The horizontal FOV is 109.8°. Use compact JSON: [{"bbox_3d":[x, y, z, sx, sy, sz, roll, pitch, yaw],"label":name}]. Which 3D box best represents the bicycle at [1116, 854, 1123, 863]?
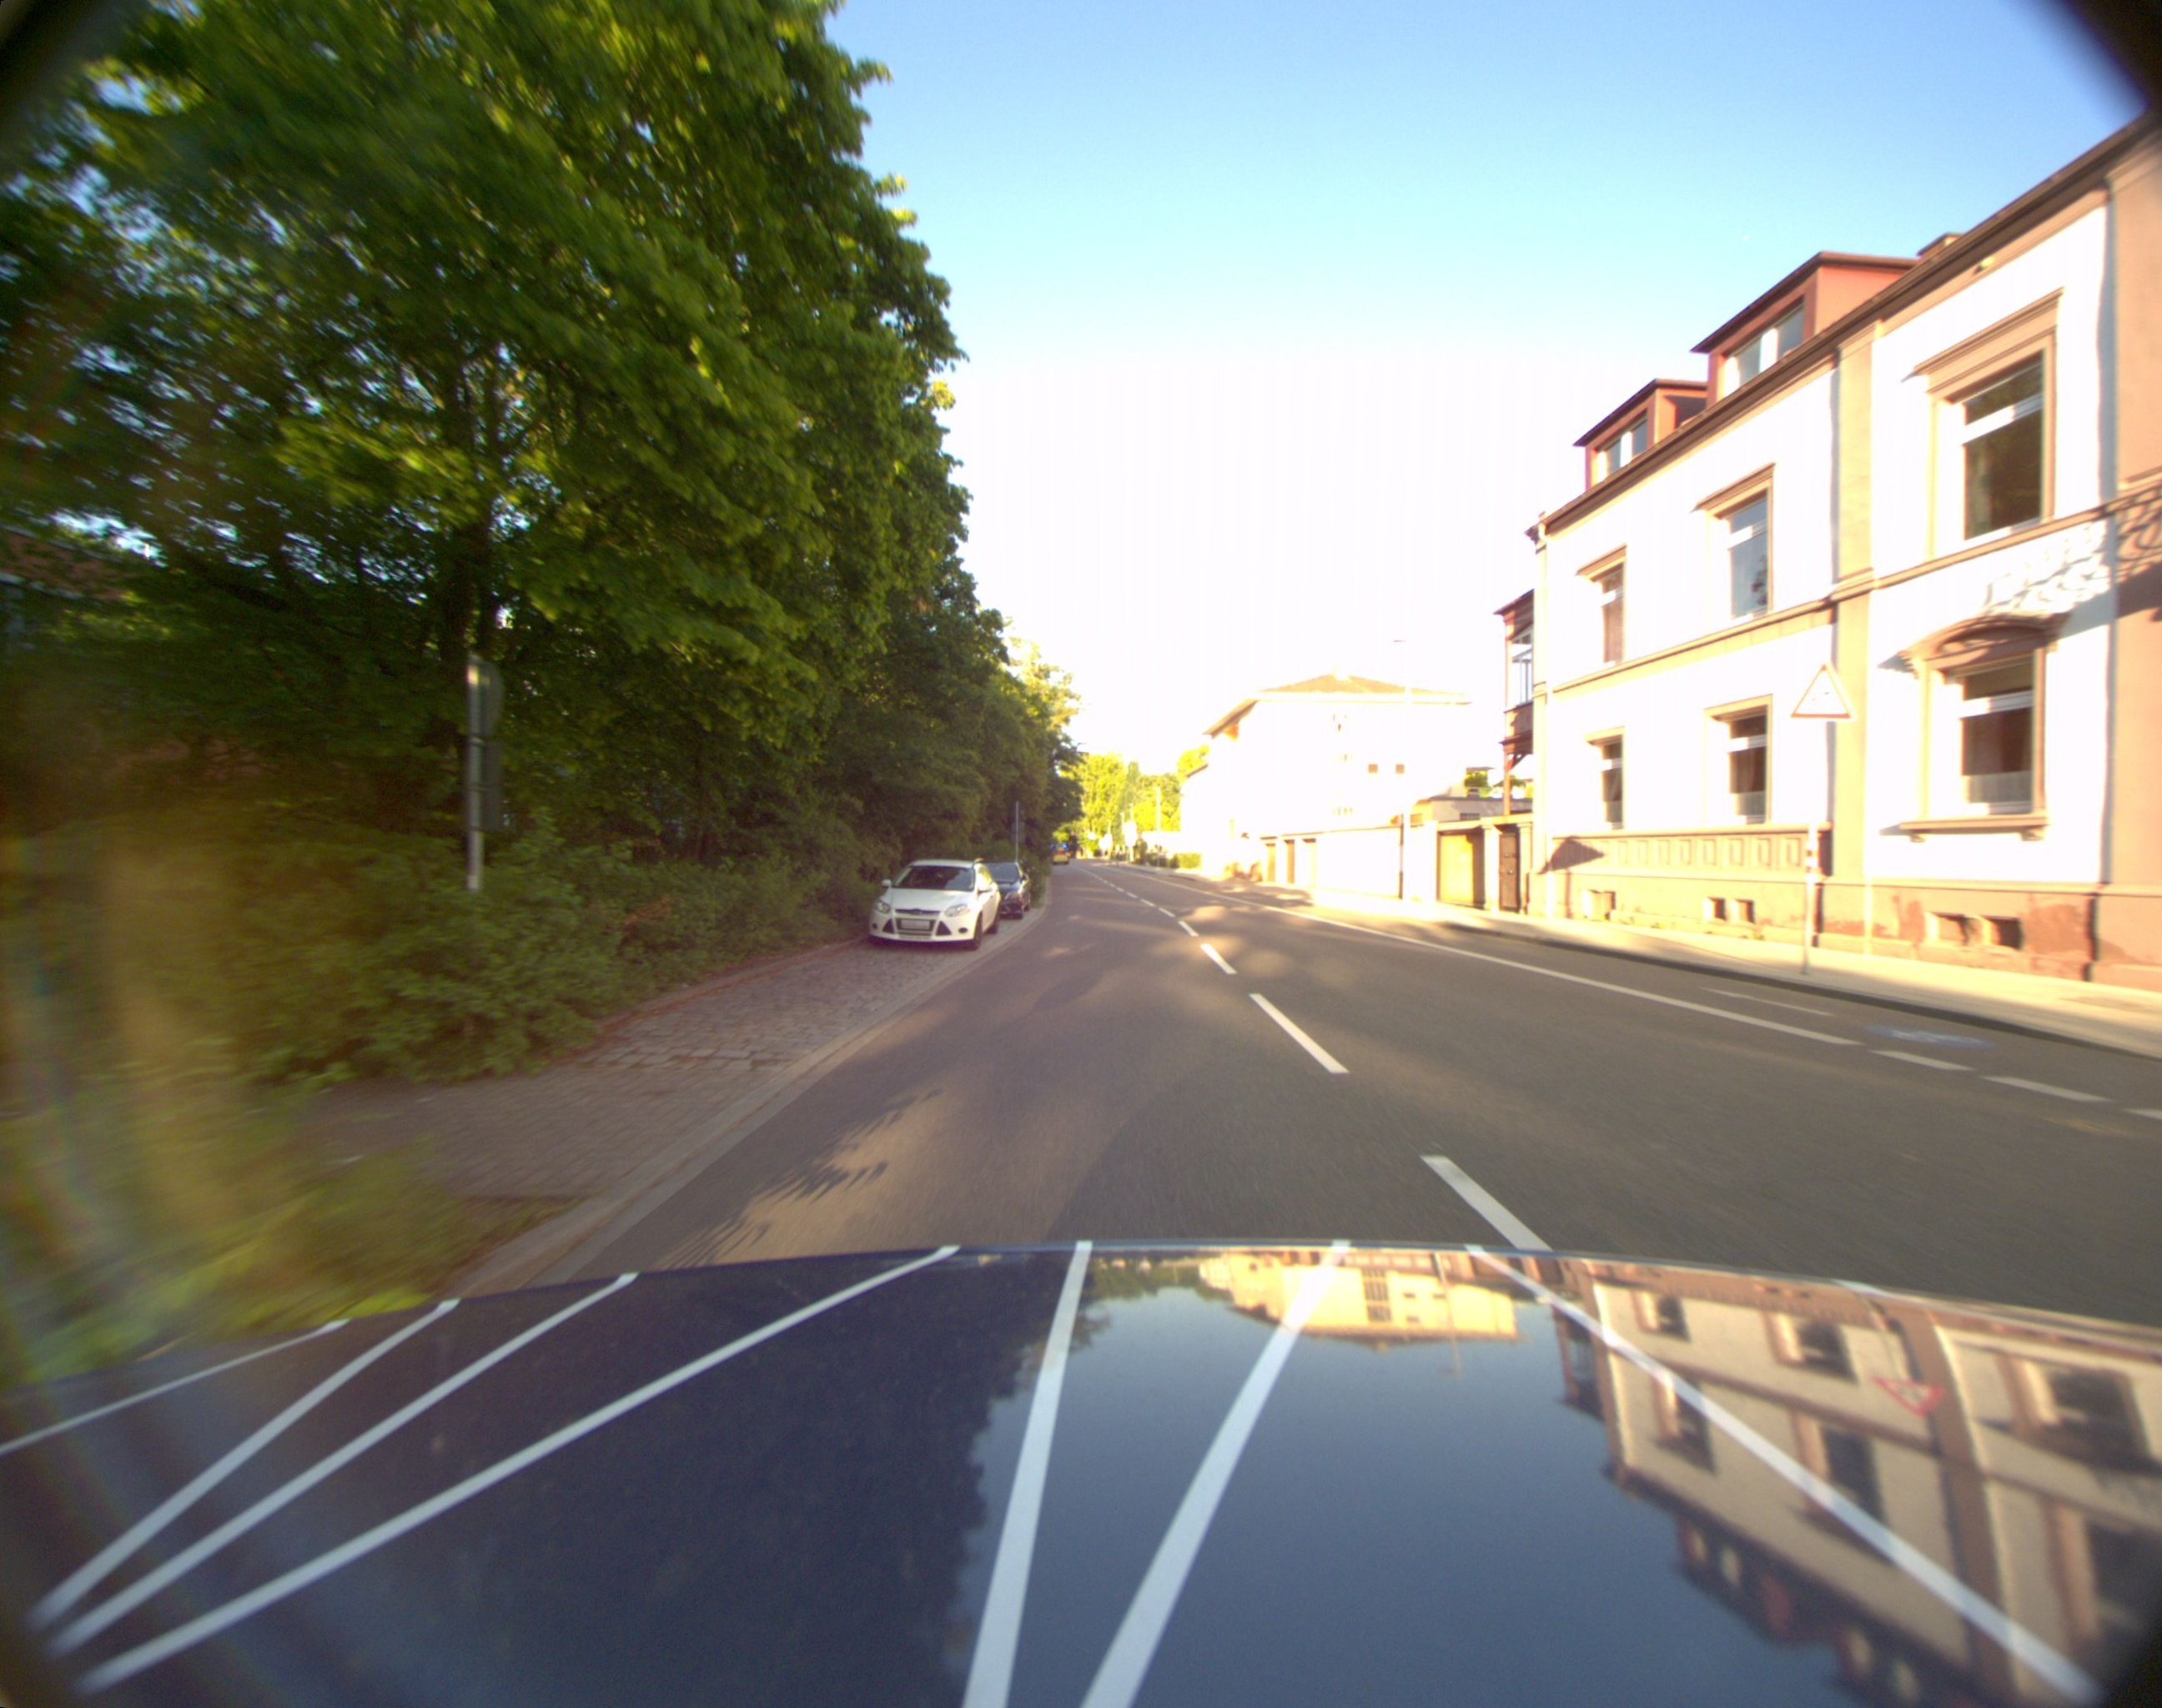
[{"bbox_3d":[4.496,0.571,89.353,0.576,1.056,1.849,0,1,-3],"label":"bicycle"}]

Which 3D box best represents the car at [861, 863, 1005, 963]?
[{"bbox_3d":[-2.513,0.951,13.926,1.752,1.478,4.176,0,0,1],"label":"car"}]

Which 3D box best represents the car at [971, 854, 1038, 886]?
[{"bbox_3d":[-3.678,0.776,36.841,3.118,1.519,1.529,0,1,-1],"label":"car"}]

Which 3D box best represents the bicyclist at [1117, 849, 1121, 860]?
[{"bbox_3d":[4.489,0.047,89.382,0.479,1.258,0.567,0,1,-3],"label":"bicyclist"}]

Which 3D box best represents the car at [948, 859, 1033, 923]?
[{"bbox_3d":[-2.306,0.899,20.399,1.752,1.478,4.508,0,0,0],"label":"car"}]

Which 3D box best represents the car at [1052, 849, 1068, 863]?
[{"bbox_3d":[-3.065,0.326,113.287,2.228,2.002,4.890,0,0,1],"label":"car"}]
